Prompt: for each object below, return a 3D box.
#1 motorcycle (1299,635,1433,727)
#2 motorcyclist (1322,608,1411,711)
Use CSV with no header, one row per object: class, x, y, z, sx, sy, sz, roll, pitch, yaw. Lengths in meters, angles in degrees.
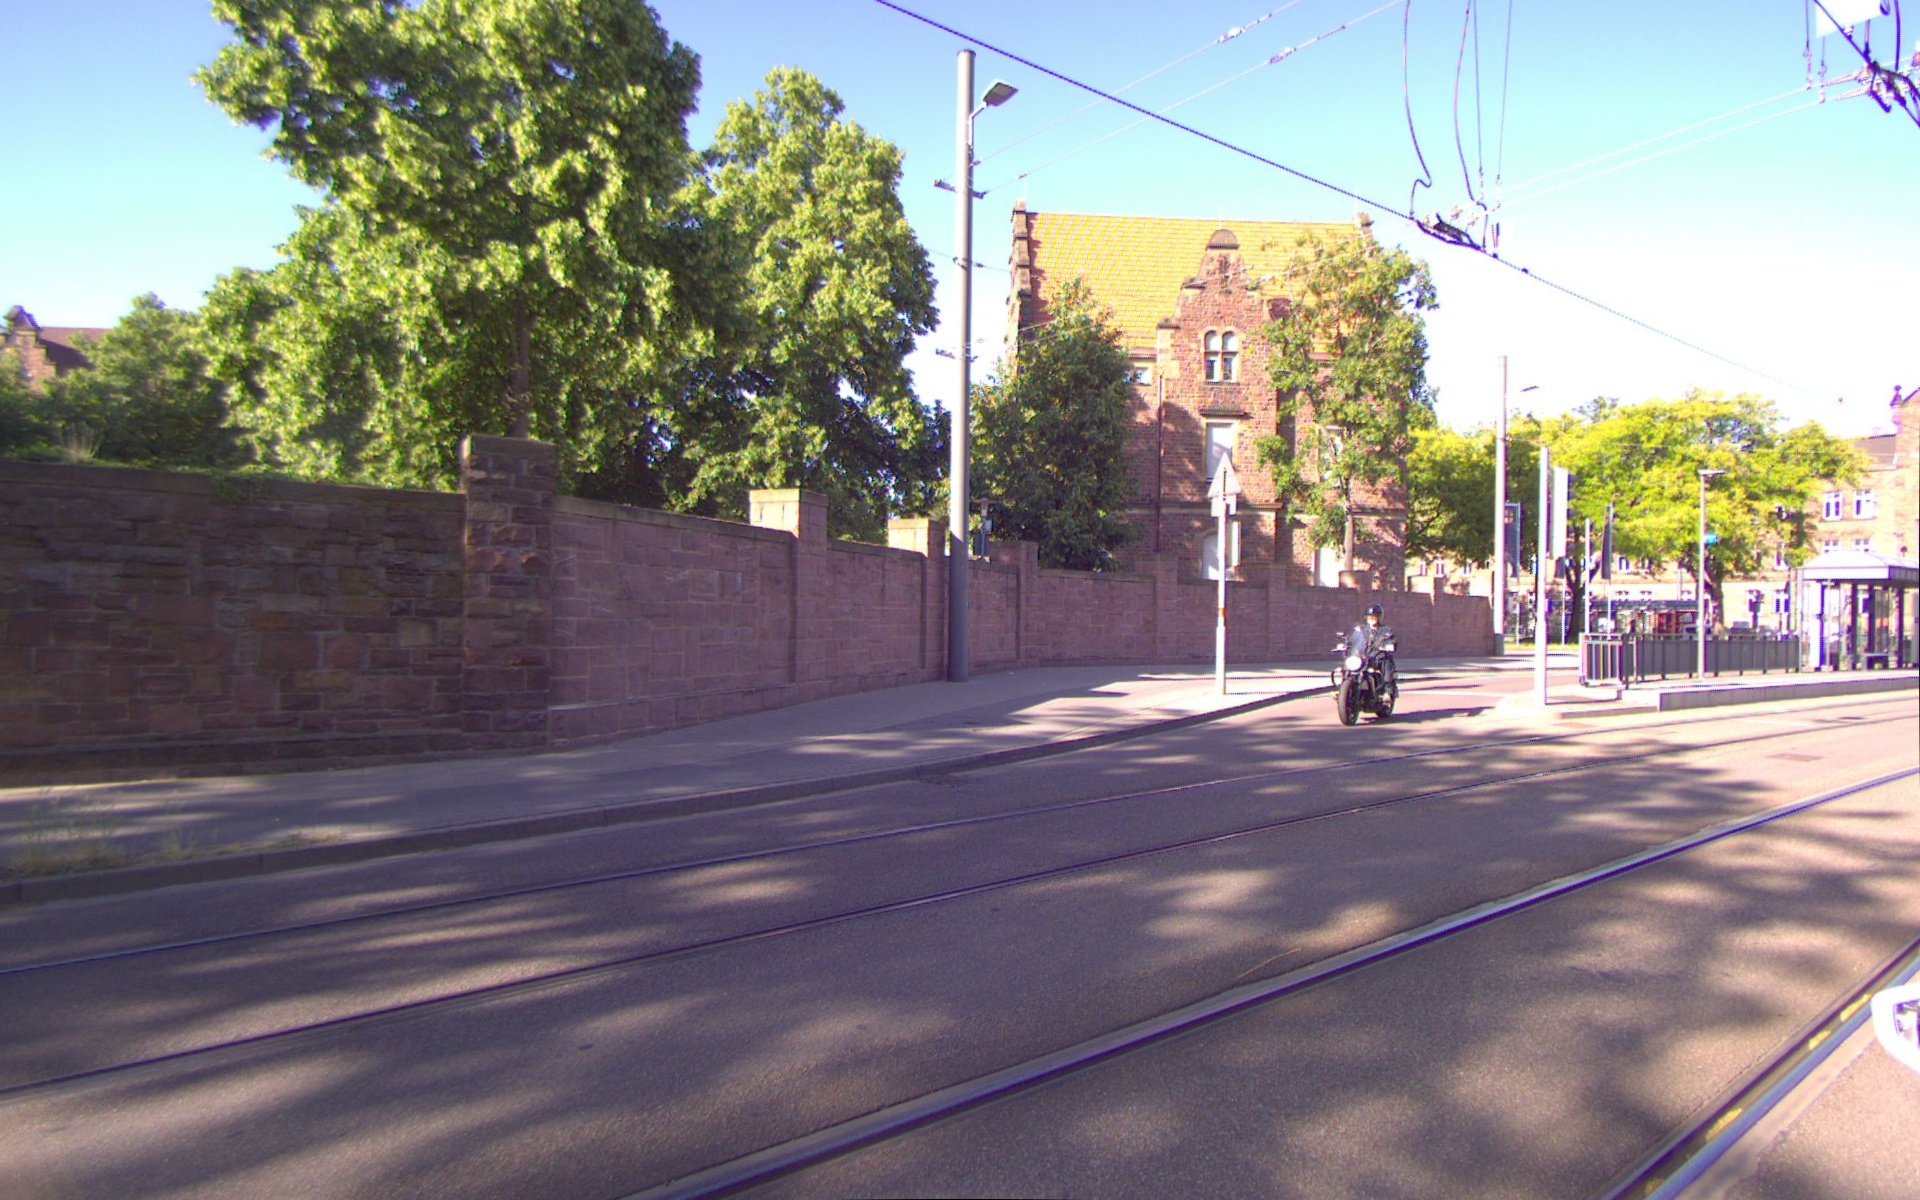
motorcycle,5.876,1.112,14.460,2.413,1.169,0.902,2,-1,-44
motorcyclist,5.843,0.826,14.436,0.902,1.401,0.880,1,0,-44
